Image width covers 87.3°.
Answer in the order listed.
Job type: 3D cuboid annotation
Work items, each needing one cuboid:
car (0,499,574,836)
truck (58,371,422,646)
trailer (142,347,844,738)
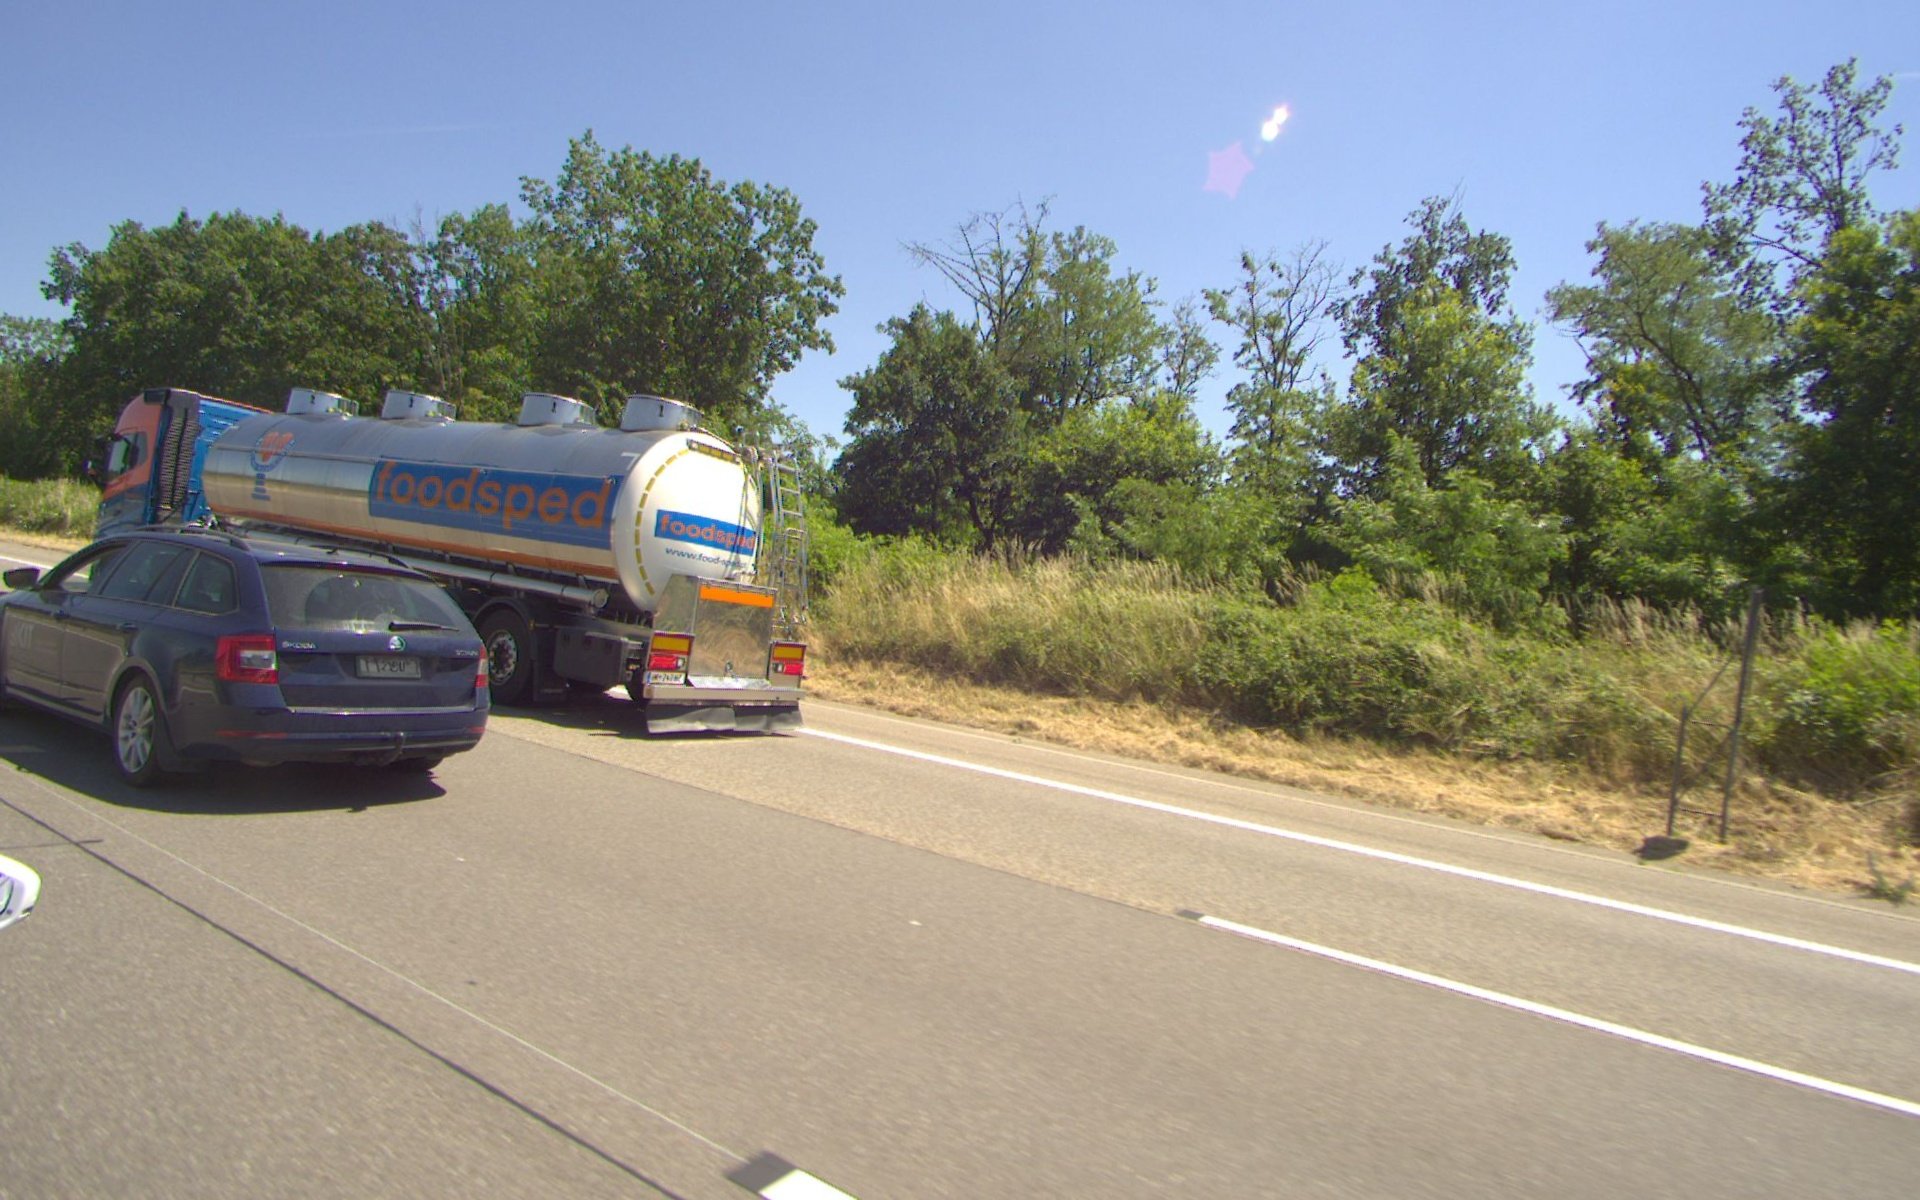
[{"bbox_3d":[-4.810,0.297,6.780,4.200,1.500,1.805,6,-2,31],"label":"car"},{"bbox_3d":[-12.225,-1.534,16.961,5.998,3.777,2.534,6,-1,32],"label":"truck"},{"bbox_3d":[-7.026,-0.959,13.709,11.358,3.777,2.534,6,-1,32],"label":"trailer"}]
